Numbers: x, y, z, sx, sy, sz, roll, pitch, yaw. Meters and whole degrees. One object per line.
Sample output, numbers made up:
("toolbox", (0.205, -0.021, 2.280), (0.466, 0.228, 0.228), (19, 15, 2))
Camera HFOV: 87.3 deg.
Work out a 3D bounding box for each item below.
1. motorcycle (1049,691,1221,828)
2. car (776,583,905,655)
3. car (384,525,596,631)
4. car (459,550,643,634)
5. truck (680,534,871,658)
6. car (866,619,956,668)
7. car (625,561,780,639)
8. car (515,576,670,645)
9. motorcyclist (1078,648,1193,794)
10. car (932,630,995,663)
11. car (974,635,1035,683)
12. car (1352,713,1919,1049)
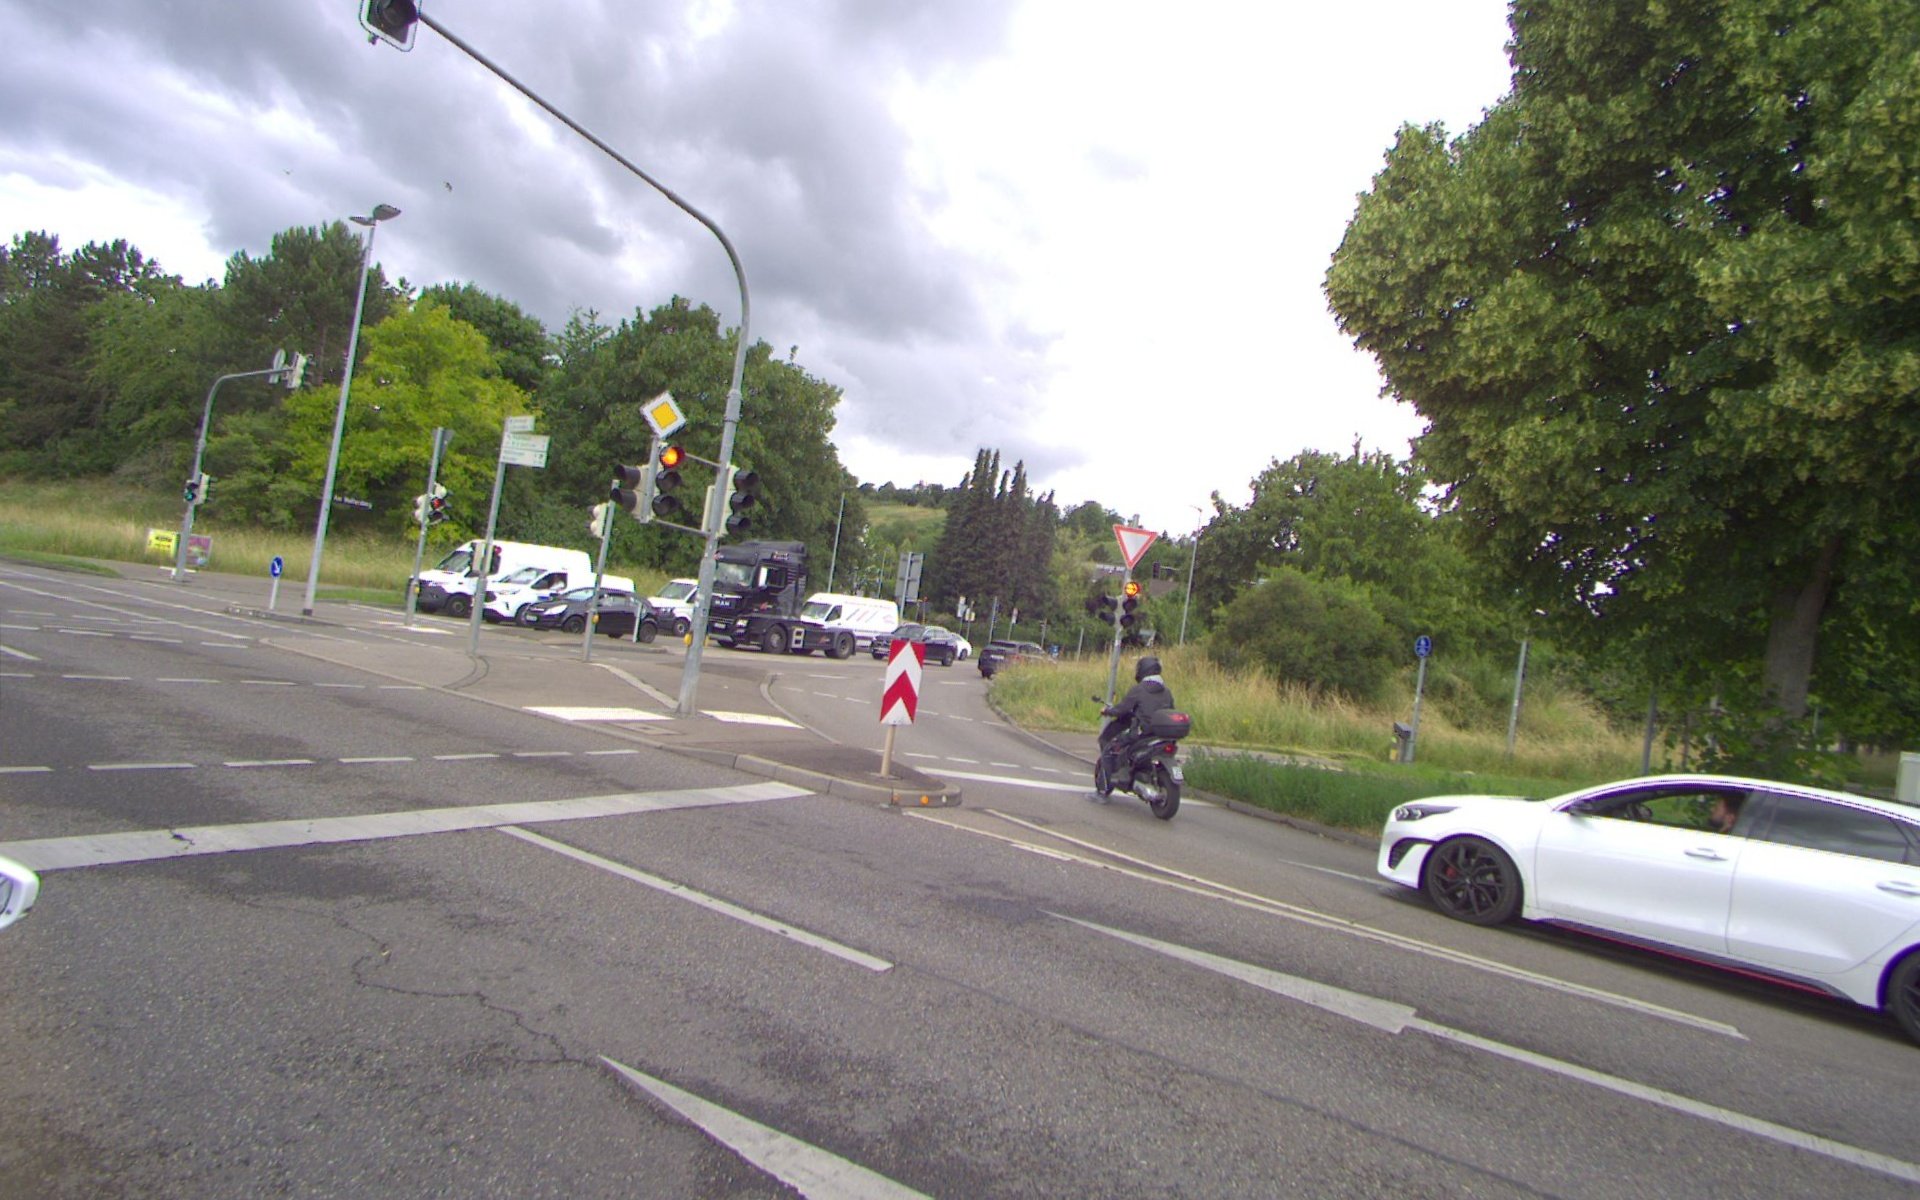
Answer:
("motorcycle", (1.871, 1.712, 11.137), (0.750, 1.102, 2.059), (9, -2, -23))
("car", (-5.644, 1.001, 48.690), (2.192, 2.751, 6.674), (6, -2, 33))
("car", (-15.465, -0.644, 33.533), (2.192, 2.689, 5.950), (6, -2, 33))
("car", (-12.810, -0.200, 31.865), (2.086, 2.013, 4.981), (5, -3, 32))
("truck", (-6.357, -0.049, 35.487), (3.025, 3.558, 5.950), (6, -2, 33))
("car", (-1.992, 1.839, 42.043), (1.722, 1.594, 3.861), (7, -2, 32))
("car", (-10.371, 0.057, 41.013), (2.193, 2.413, 5.948), (6, -2, 35))
("car", (-10.468, 0.332, 28.893), (1.610, 1.458, 3.858), (7, -2, 34))
("motorcyclist", (1.930, 1.322, 11.133), (0.750, 1.437, 0.813), (9, -1, -23))
("car", (0.236, 2.658, 56.979), (1.625, 1.473, 3.861), (7, -2, 32))
("car", (1.674, 2.145, 36.809), (1.718, 1.452, 3.871), (7, -2, 8))
("car", (5.399, 1.896, 7.083), (4.456, 1.435, 1.828), (5, -5, 45))
